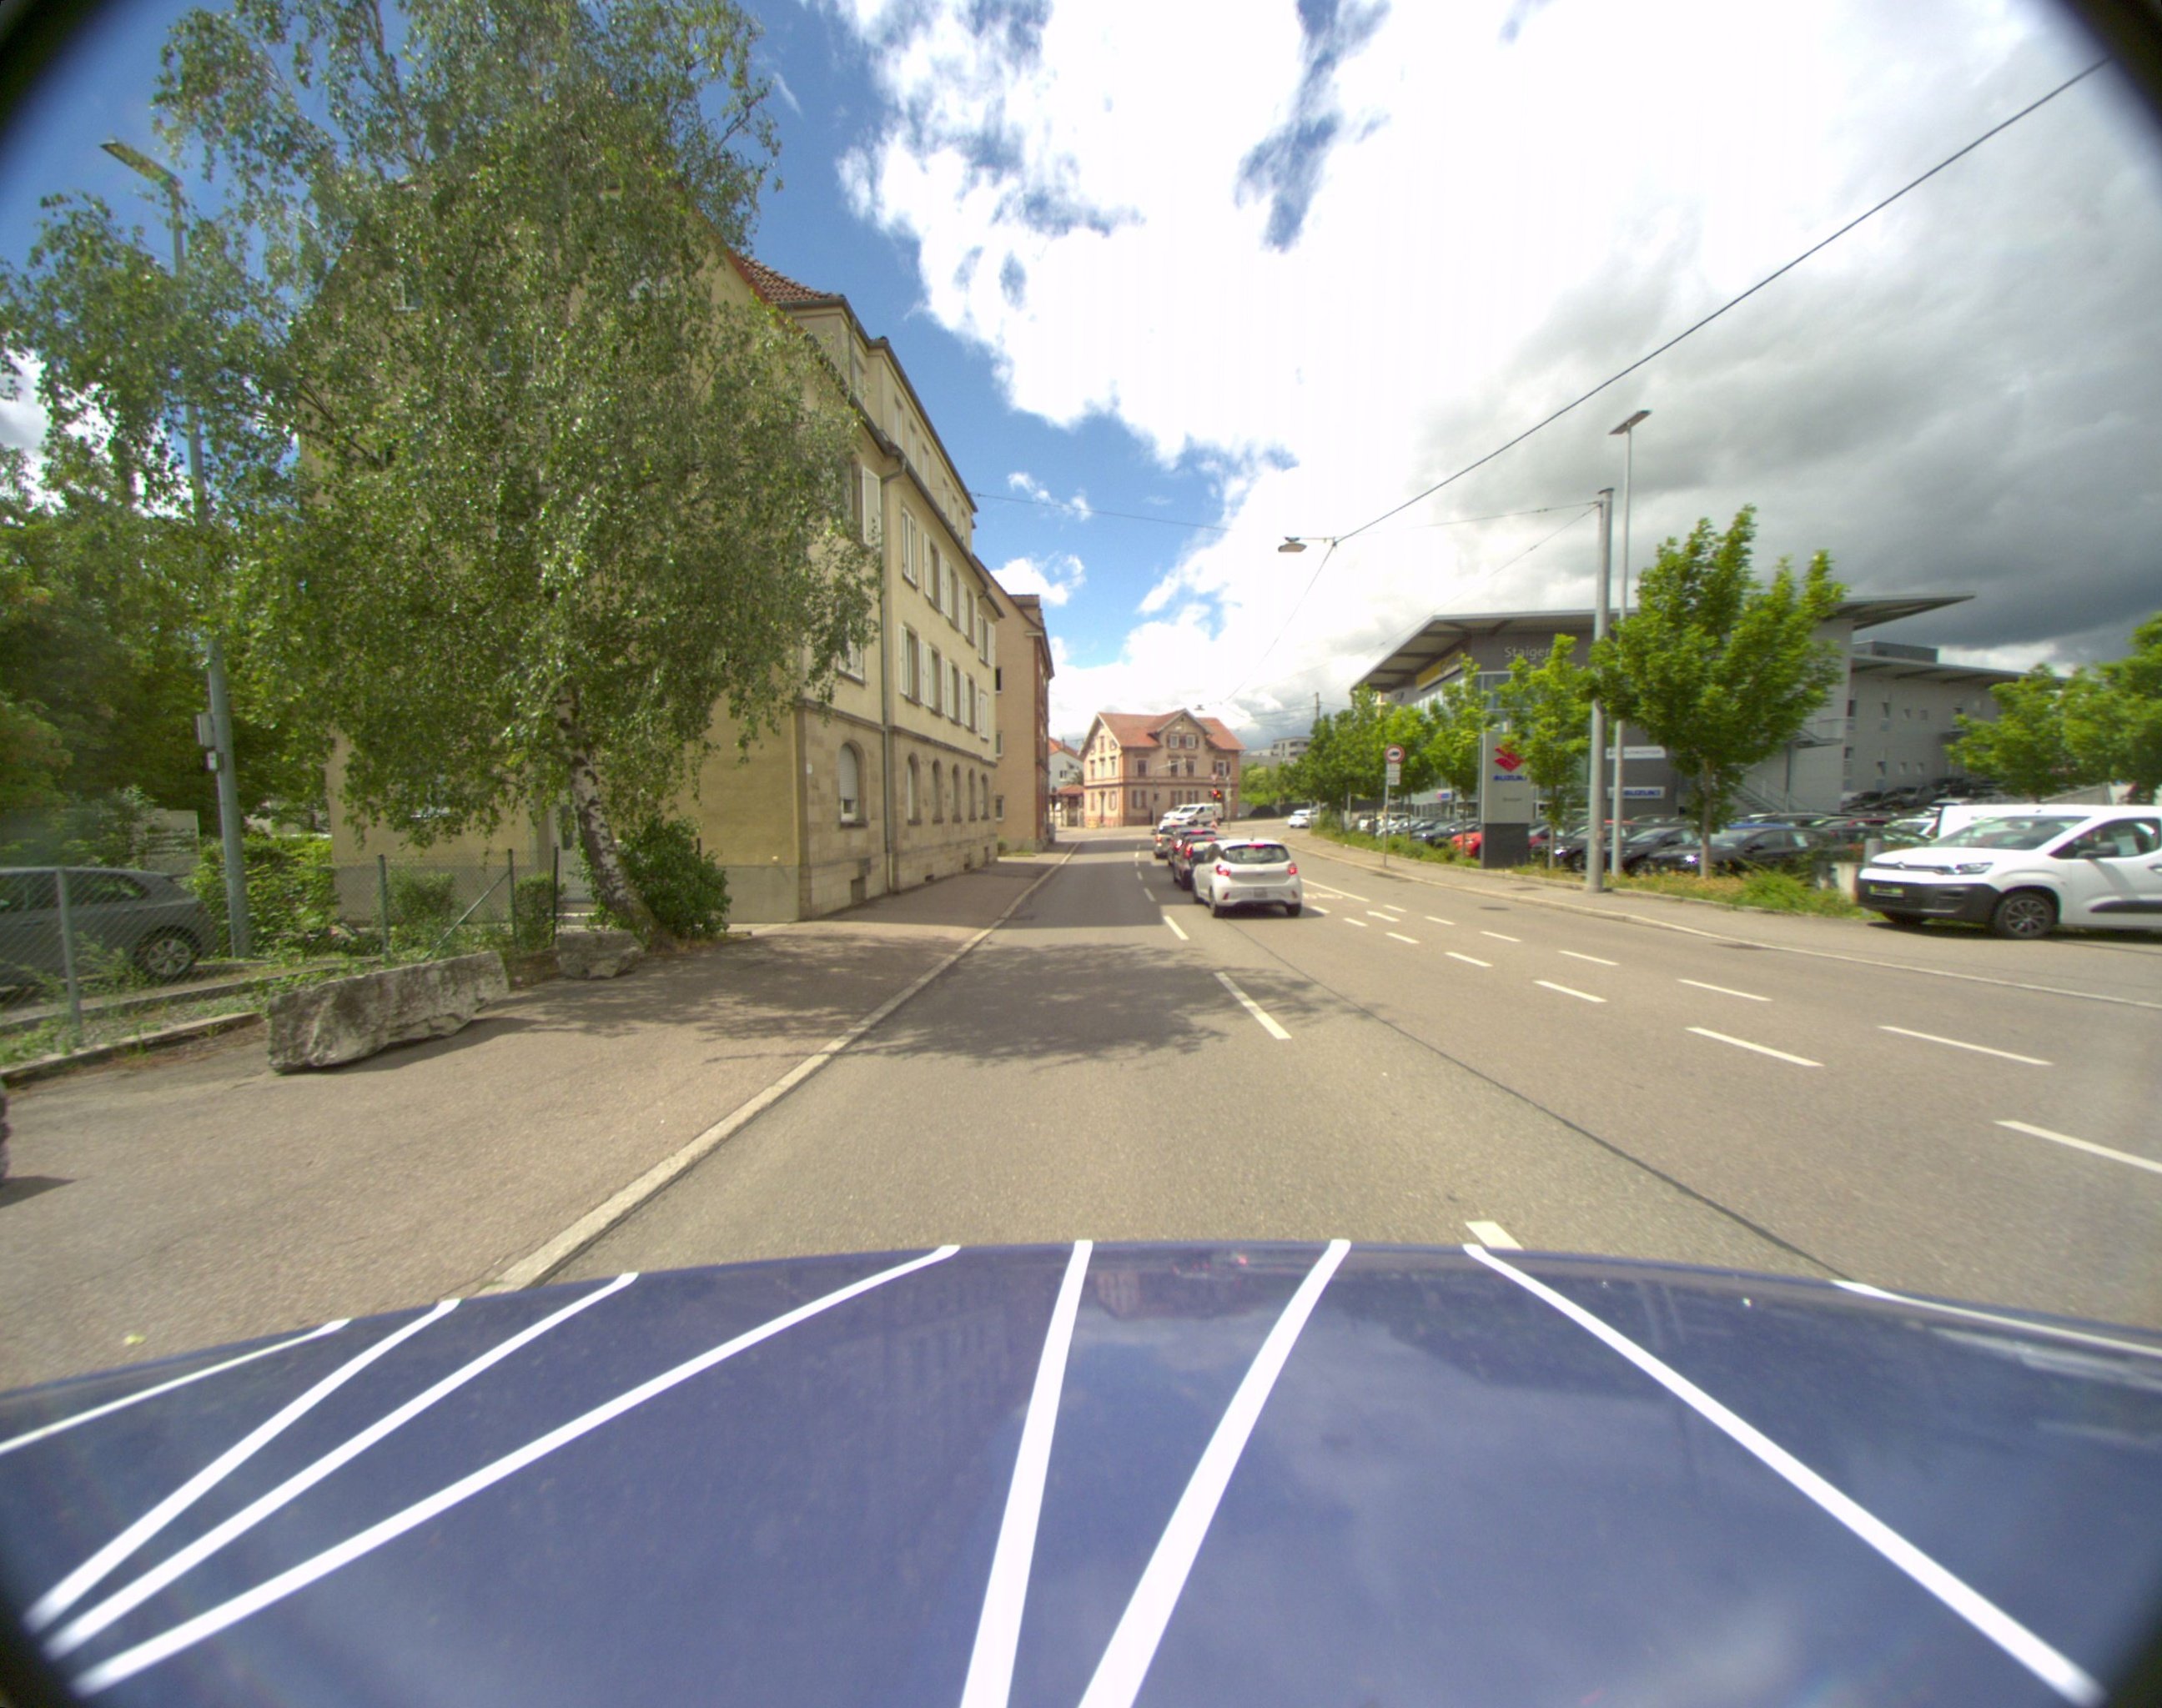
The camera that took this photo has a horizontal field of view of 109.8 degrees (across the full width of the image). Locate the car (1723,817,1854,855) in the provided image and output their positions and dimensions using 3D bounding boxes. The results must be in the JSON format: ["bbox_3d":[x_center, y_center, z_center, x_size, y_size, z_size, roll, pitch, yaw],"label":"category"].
[{"bbox_3d":[26.074,-0.667,28.093,3.323,1.366,1.517,0,3,2],"label":"car"}]

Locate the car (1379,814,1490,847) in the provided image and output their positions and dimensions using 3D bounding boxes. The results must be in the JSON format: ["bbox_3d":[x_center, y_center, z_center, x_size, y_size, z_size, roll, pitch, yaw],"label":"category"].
[{"bbox_3d":[16.390,-1.095,35.386,4.289,1.489,1.812,0,3,2],"label":"car"}]

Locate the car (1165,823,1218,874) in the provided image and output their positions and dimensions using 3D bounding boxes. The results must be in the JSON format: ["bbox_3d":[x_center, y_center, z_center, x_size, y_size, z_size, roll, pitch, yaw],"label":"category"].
[{"bbox_3d":[4.064,-0.264,28.480,1.722,1.573,4.249,-2,4,5],"label":"car"}]

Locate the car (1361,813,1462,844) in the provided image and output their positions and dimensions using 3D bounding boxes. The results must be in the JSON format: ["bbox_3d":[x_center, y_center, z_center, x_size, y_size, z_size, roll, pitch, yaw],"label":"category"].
[{"bbox_3d":[16.314,-1.267,37.689,4.216,1.489,1.812,0,3,2],"label":"car"}]

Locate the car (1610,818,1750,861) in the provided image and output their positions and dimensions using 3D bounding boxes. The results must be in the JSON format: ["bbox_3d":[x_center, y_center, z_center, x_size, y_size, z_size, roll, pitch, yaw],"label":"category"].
[{"bbox_3d":[19.616,-0.504,24.967,3.323,1.366,1.517,0,3,2],"label":"car"}]

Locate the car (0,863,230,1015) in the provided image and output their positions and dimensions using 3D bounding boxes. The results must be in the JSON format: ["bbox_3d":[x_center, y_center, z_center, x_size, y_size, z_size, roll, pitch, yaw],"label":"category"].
[{"bbox_3d":[-11.945,1.015,7.721,1.720,1.383,4.140,-4,4,1],"label":"car"}]

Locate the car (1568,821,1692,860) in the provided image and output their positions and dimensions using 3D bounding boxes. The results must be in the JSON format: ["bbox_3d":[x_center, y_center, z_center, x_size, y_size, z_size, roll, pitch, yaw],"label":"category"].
[{"bbox_3d":[19.809,-0.501,27.523,3.323,1.366,1.517,0,3,2],"label":"car"}]

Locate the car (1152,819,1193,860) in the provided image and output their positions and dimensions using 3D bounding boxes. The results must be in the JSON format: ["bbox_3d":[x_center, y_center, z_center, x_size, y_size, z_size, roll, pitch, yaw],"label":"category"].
[{"bbox_3d":[4.145,-0.725,34.848,1.722,1.573,4.317,-2,4,5],"label":"car"}]

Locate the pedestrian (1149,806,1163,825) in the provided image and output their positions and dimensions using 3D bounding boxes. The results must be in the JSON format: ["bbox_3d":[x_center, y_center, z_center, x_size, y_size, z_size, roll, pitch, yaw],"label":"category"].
[{"bbox_3d":[7.422,-3.826,75.572,1.049,1.855,0.722,-6,5,-23],"label":"pedestrian"}]

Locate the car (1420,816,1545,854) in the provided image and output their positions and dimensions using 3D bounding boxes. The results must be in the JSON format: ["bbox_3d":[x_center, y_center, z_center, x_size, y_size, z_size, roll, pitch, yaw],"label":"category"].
[{"bbox_3d":[15.969,-0.779,30.357,3.991,1.489,1.812,0,3,2],"label":"car"}]

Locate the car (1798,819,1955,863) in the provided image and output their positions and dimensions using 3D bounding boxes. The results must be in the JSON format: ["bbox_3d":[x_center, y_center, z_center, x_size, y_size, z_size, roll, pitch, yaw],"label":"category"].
[{"bbox_3d":[25.521,-0.450,24.458,3.323,1.366,1.517,0,3,2],"label":"car"}]

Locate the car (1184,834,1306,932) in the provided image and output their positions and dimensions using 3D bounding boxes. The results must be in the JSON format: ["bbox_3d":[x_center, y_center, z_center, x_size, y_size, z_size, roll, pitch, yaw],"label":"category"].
[{"bbox_3d":[3.291,0.482,15.953,1.723,1.573,3.997,-3,4,1],"label":"car"}]

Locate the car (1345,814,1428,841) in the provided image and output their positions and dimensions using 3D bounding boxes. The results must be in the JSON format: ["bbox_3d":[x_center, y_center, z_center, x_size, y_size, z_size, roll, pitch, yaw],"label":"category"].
[{"bbox_3d":[17.270,-1.535,43.062,3.995,1.489,1.812,0,3,6],"label":"car"}]

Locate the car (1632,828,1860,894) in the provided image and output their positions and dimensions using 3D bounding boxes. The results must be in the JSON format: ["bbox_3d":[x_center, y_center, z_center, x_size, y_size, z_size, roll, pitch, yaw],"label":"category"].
[{"bbox_3d":[15.172,0.126,17.475,3.708,1.402,1.794,0,3,-4],"label":"car"}]

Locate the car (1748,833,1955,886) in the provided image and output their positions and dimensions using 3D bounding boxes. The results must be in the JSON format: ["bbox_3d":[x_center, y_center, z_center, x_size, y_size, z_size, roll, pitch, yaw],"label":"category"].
[{"bbox_3d":[19.008,0.110,18.858,3.471,1.247,1.544,0,3,2],"label":"car"}]

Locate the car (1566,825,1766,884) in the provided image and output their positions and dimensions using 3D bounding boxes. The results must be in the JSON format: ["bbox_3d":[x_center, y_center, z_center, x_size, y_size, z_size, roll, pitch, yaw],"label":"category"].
[{"bbox_3d":[15.231,-0.024,19.935,3.843,1.453,1.772,0,3,0],"label":"car"}]

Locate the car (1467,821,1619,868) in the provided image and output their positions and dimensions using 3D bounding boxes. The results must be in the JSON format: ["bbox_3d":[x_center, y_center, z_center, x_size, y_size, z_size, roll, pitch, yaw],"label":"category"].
[{"bbox_3d":[15.151,-0.353,25.069,3.858,1.489,1.812,0,3,1],"label":"car"}]

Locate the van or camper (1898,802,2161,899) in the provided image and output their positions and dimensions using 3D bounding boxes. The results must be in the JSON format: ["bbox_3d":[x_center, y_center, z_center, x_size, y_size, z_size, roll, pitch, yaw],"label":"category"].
[{"bbox_3d":[22.860,-0.169,17.975,1.998,2.003,4.684,0,3,2],"label":"van or camper"}]

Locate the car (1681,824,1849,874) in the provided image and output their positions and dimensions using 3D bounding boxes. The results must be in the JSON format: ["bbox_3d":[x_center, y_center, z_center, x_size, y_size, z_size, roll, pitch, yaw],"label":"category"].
[{"bbox_3d":[19.372,-0.167,21.622,3.323,1.366,1.517,0,3,2],"label":"car"}]

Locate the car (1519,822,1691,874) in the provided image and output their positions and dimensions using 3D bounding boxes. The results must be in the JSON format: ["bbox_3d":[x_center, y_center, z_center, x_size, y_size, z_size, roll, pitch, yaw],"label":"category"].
[{"bbox_3d":[15.483,-0.203,22.594,3.823,1.489,1.811,0,3,-1],"label":"car"}]

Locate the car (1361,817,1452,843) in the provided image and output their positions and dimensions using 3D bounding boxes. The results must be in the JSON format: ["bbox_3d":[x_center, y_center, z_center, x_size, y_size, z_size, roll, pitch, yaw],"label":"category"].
[{"bbox_3d":[17.288,-1.296,40.468,4.075,1.387,1.812,0,3,6],"label":"car"}]

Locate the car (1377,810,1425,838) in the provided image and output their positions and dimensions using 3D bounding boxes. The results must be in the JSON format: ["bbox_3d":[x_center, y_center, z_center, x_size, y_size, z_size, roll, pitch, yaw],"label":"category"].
[{"bbox_3d":[20.098,-1.915,47.922,1.946,1.555,3.995,-2,4,10],"label":"car"}]

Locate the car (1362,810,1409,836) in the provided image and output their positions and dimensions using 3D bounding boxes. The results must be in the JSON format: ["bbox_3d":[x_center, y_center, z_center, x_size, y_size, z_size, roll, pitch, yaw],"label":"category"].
[{"bbox_3d":[20.961,-2.159,52.460,1.946,1.555,4.305,-2,4,7],"label":"car"}]

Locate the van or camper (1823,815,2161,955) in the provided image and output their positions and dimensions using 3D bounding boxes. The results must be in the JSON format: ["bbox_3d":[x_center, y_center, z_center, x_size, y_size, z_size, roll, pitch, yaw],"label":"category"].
[{"bbox_3d":[13.675,0.345,10.446,4.677,1.740,2.000,0,3,6],"label":"van or camper"}]

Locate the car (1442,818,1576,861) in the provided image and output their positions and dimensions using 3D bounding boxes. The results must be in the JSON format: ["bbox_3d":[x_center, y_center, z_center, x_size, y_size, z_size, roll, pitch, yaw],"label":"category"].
[{"bbox_3d":[15.532,-0.554,27.742,3.836,1.489,1.812,0,3,2],"label":"car"}]

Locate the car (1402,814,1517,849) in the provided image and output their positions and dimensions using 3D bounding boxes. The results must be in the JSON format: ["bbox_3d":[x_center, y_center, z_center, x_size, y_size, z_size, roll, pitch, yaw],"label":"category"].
[{"bbox_3d":[16.398,-0.985,33.039,4.064,1.489,1.812,0,3,2],"label":"car"}]

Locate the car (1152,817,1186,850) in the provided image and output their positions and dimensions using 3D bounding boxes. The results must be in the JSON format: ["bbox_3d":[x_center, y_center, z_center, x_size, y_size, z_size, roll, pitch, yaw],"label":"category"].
[{"bbox_3d":[4.838,-1.179,42.313,1.722,1.573,3.999,-2,4,5],"label":"car"}]

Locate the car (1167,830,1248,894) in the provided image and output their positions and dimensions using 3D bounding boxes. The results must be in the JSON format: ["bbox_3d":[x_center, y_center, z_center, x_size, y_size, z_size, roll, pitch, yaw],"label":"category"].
[{"bbox_3d":[3.482,0.164,21.374,1.723,1.476,3.320,-3,4,1],"label":"car"}]

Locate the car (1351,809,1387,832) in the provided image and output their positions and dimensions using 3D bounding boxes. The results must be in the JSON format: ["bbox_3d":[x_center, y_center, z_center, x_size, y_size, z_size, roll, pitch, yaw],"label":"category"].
[{"bbox_3d":[21.556,-2.519,56.958,1.946,1.466,4.307,-2,4,13],"label":"car"}]

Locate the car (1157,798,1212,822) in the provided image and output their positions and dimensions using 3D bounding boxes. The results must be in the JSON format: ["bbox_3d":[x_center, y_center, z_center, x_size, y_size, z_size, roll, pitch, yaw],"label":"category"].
[{"bbox_3d":[10.012,-4.229,73.502,4.820,2.001,1.995,-5,5,-21],"label":"car"}]

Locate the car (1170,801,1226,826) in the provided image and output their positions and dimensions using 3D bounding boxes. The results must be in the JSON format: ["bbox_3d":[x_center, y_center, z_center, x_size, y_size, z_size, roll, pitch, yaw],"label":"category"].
[{"bbox_3d":[10.514,-3.642,68.073,4.997,1.982,1.994,-7,5,-38],"label":"car"}]

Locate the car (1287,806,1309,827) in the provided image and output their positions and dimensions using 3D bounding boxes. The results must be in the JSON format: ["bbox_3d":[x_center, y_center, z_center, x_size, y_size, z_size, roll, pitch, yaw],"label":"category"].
[{"bbox_3d":[18.390,-3.181,64.553,1.721,1.490,4.463,2,7,15],"label":"car"}]
